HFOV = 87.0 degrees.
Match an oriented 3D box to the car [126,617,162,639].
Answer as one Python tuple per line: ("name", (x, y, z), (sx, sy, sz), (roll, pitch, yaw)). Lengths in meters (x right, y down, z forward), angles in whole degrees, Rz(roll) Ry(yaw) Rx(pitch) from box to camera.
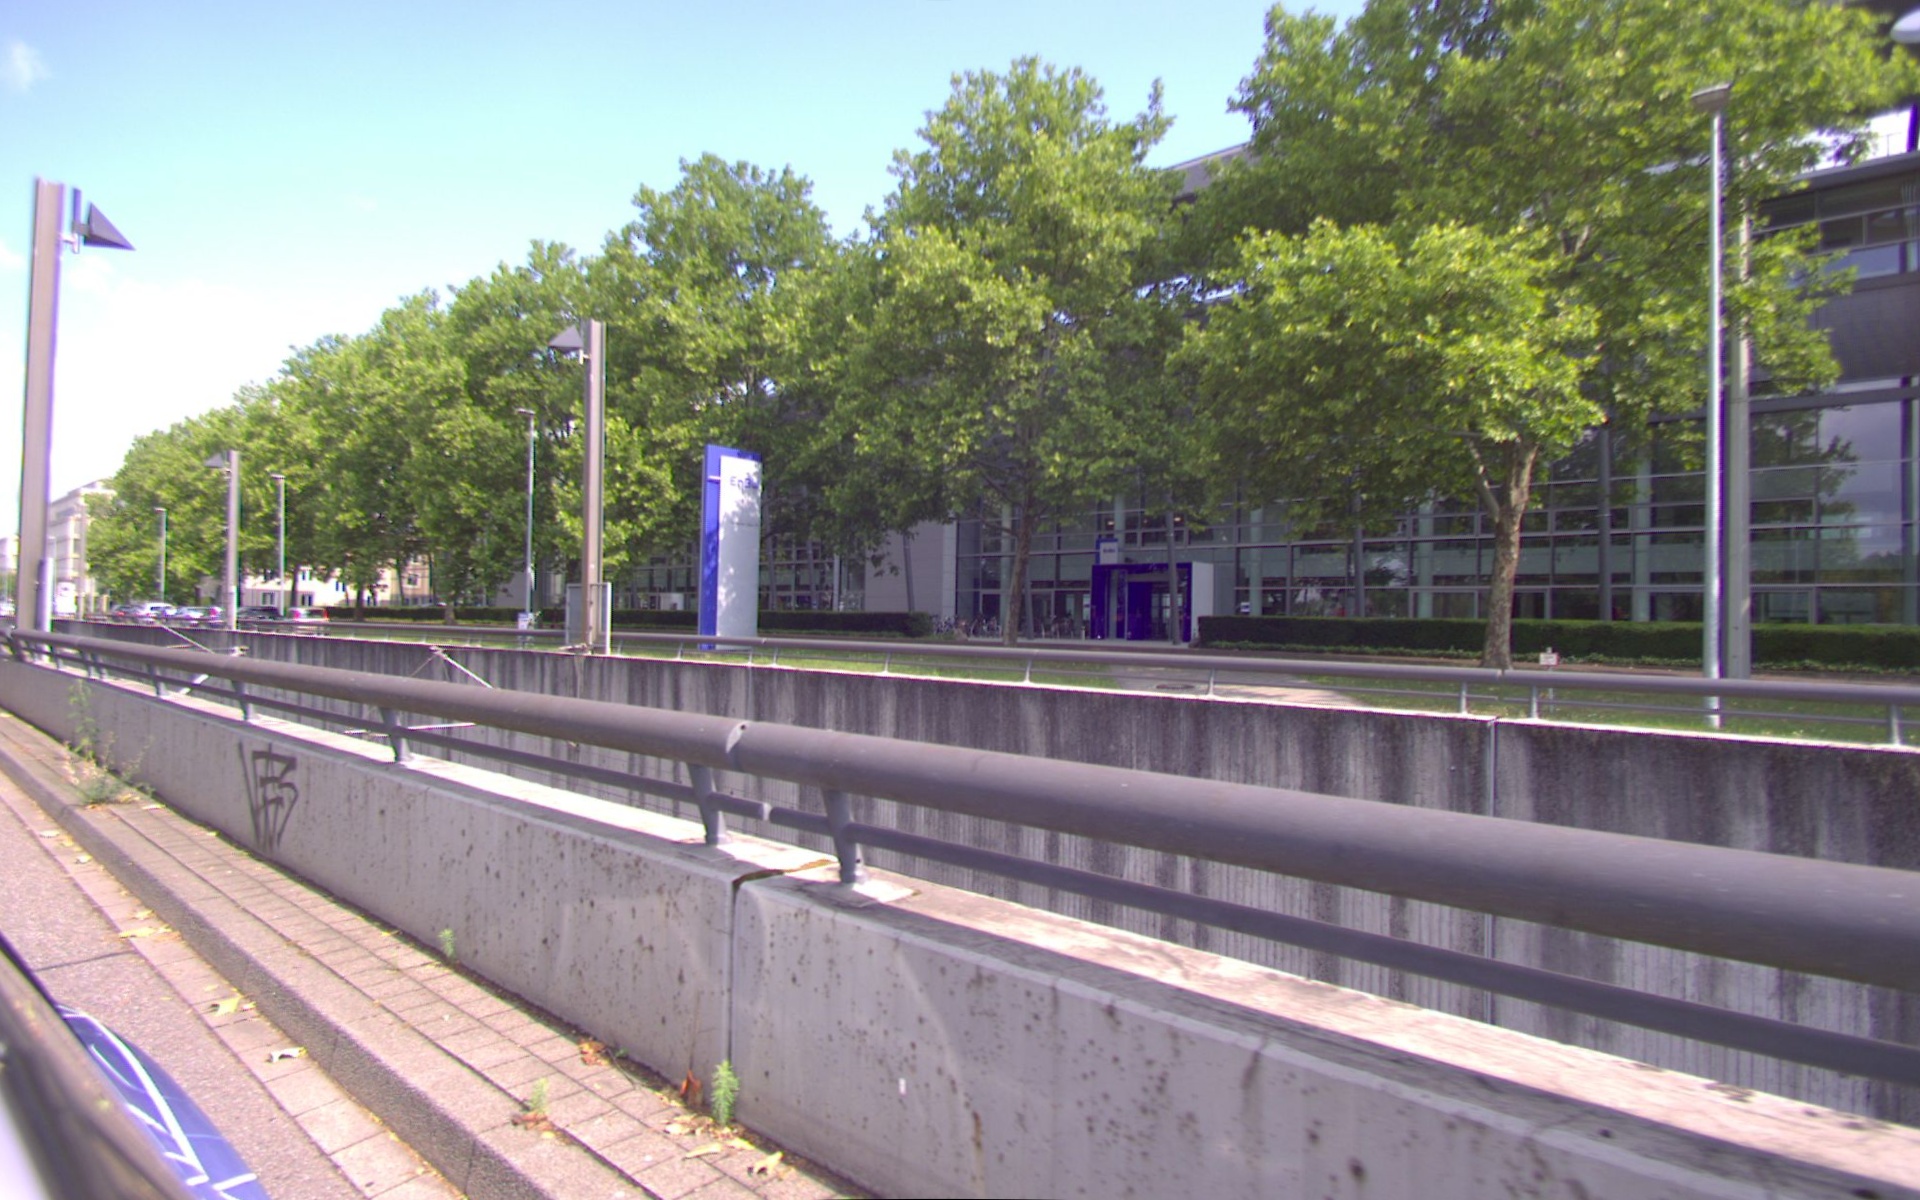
("car", (-52.771, 1.840, 65.443), (3.183, 1.387, 1.292), (-2, -4, 41))

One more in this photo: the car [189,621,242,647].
("car", (-41.621, 1.919, 56.573), (3.894, 1.387, 1.559), (-2, -4, 41))

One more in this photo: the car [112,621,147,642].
("car", (-56.727, 2.166, 69.102), (3.183, 1.387, 1.292), (-2, -4, 41))

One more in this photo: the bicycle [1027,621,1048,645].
("bicycle", (3.929, 1.710, 51.621), (0.802, 1.186, 2.339), (0, -2, -3))

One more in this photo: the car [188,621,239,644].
("car", (-41.525, 1.828, 56.284), (3.126, 1.215, 1.590), (-2, -4, 41))

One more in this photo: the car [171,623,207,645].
("car", (-44.998, 1.963, 59.071), (2.548, 1.253, 1.165), (-2, -3, 41))

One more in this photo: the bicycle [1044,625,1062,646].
("bicycle", (4.731, 1.835, 51.592), (0.586, 1.031, 2.339), (0, -2, -3))

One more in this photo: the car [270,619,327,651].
("car", (-31.011, 1.644, 47.434), (3.155, 1.467, 1.402), (-2, -4, 41))

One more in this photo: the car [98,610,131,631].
("car", (-60.620, 1.486, 72.550), (3.183, 1.387, 1.292), (-2, -4, 41))

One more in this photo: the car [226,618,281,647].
("car", (-36.250, 1.698, 51.897), (3.155, 1.445, 1.561), (-2, -4, 41))

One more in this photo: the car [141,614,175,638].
("car", (-49.745, 1.631, 62.773), (2.744, 1.387, 1.152), (-2, -4, 41))
